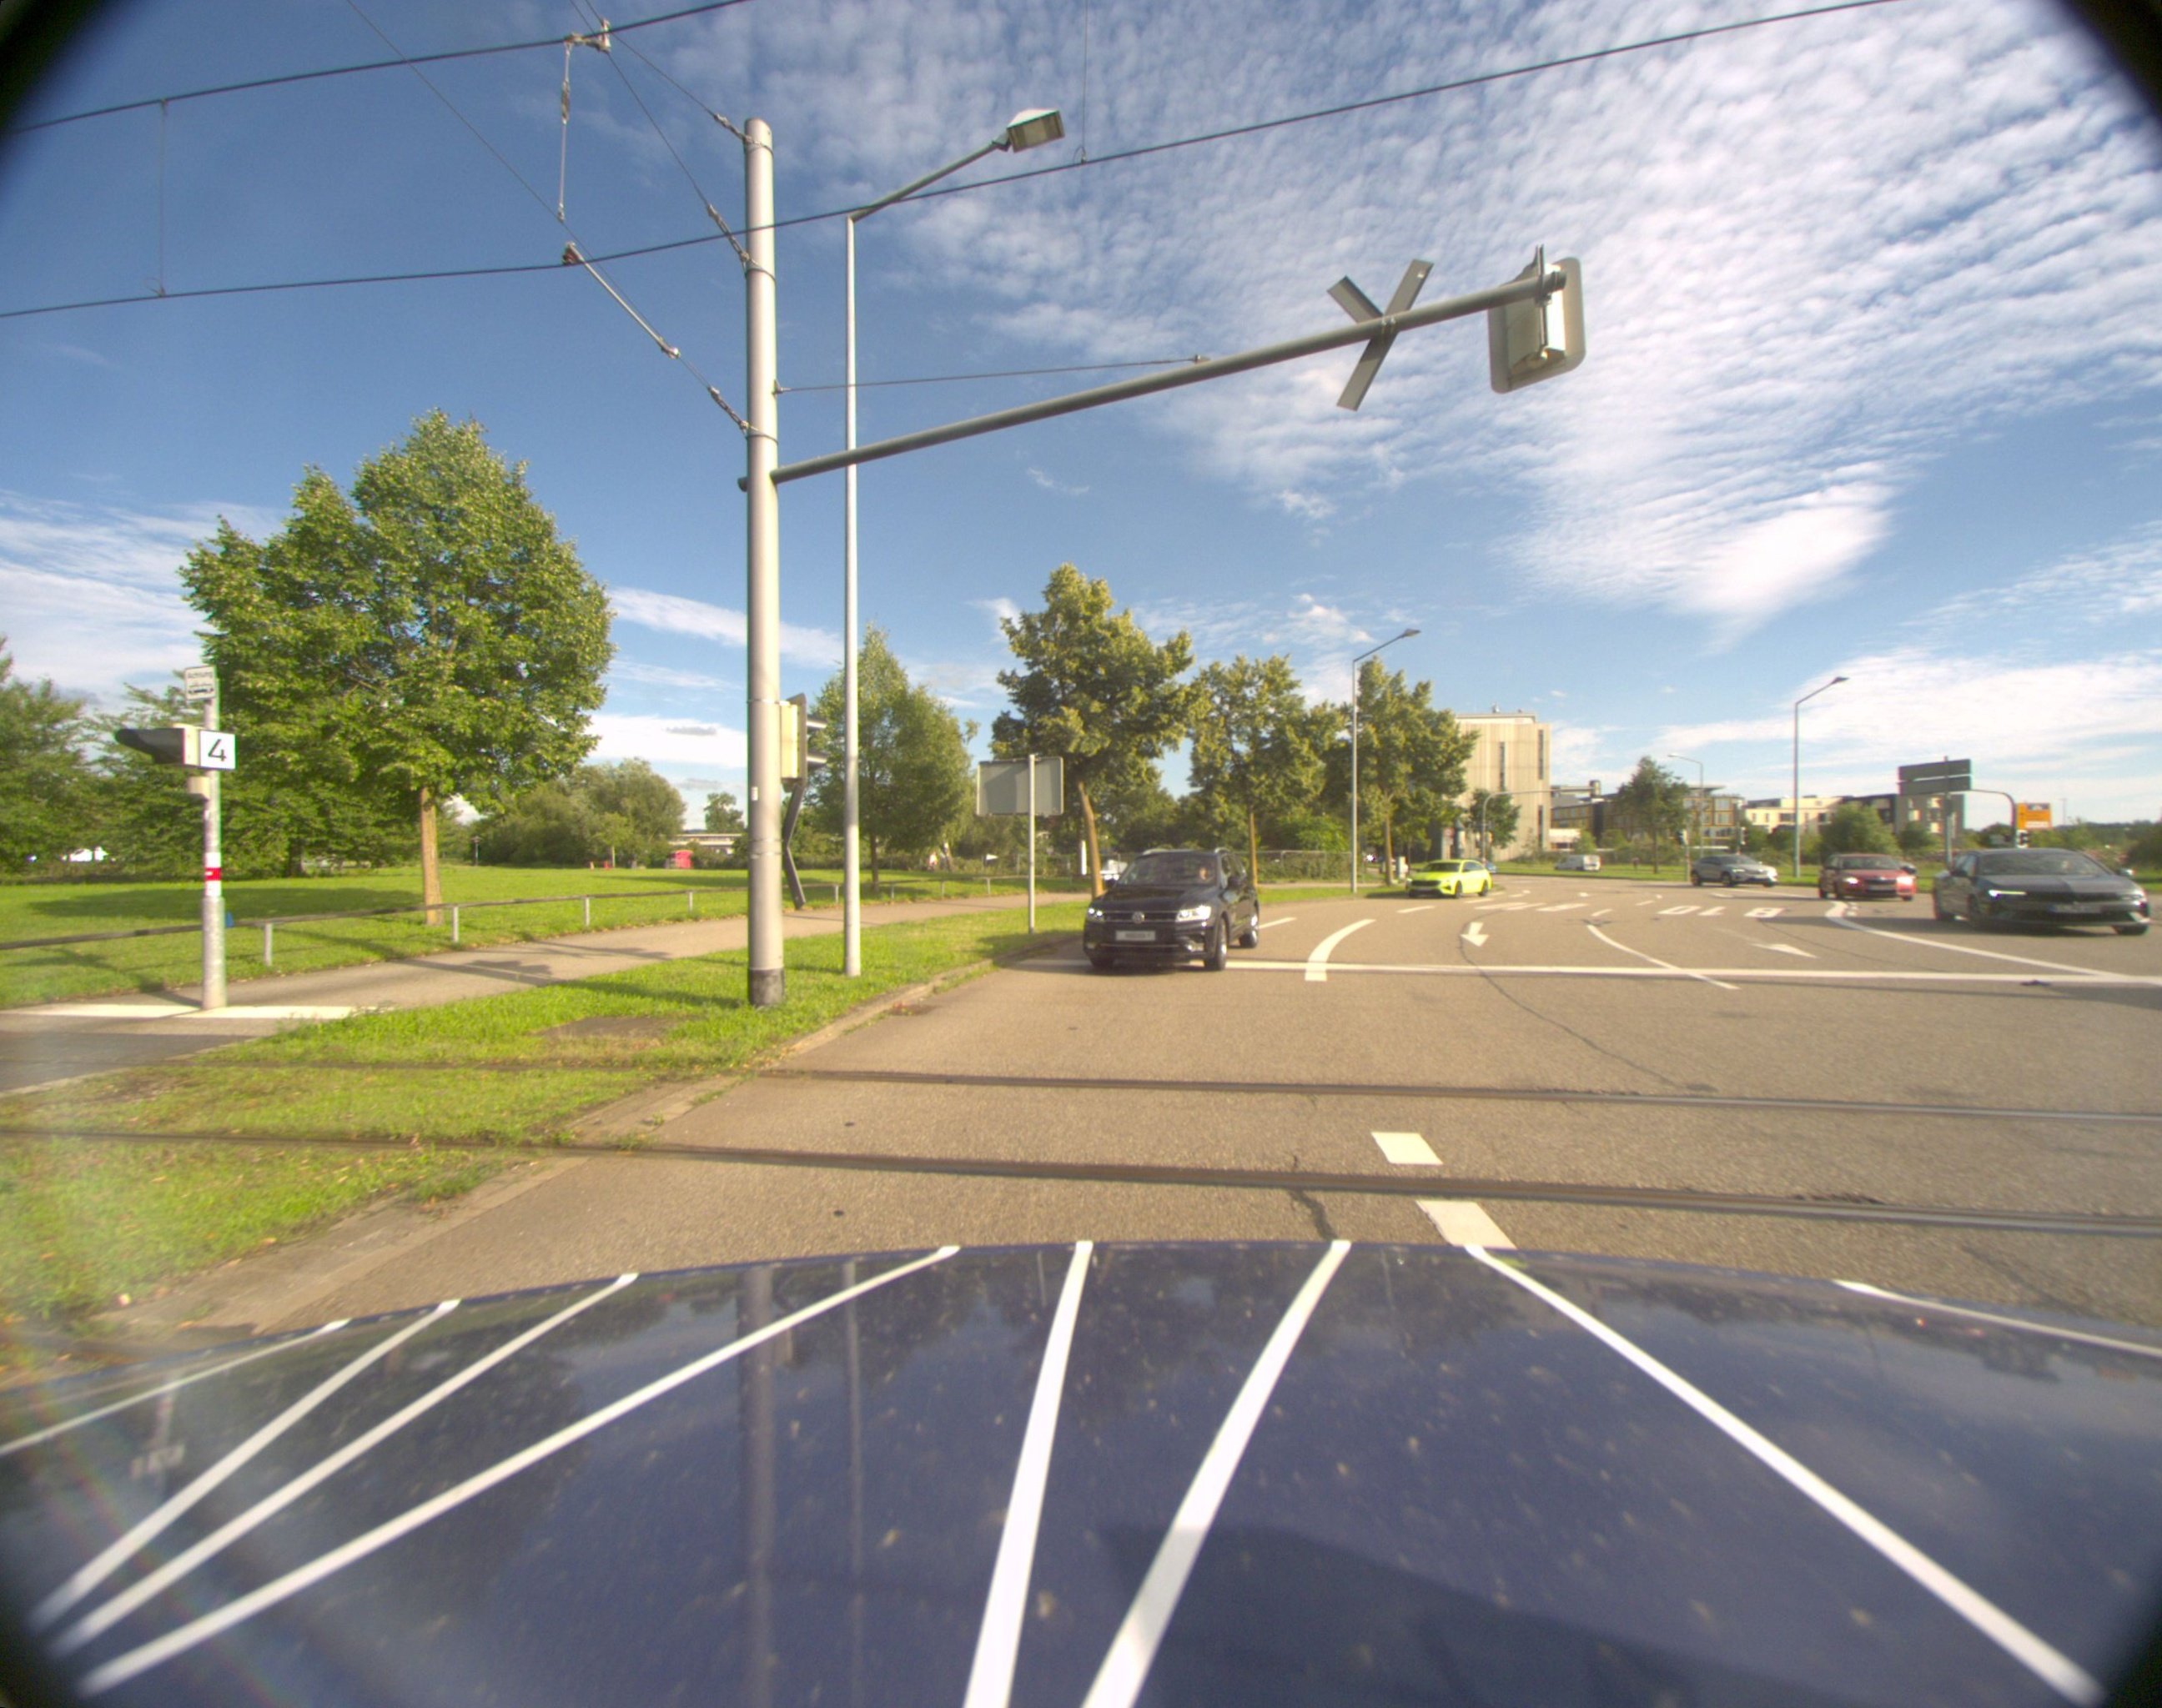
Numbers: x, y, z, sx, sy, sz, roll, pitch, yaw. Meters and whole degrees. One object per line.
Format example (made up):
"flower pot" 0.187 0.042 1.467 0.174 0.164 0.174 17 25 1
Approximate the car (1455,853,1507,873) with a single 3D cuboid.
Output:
"car" 35.283 0.796 67.110 1.999 1.652 4.802 0 1 -1

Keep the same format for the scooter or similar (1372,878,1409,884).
"scooter or similar" 18.180 1.566 44.650 1.555 0.279 1.291 0 0 -23

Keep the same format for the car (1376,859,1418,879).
"car" 29.133 1.352 70.231 1.998 1.652 4.803 0 0 1

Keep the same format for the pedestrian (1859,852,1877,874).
"pedestrian" 57.396 0.660 55.403 0.628 1.620 0.658 -1 0 4

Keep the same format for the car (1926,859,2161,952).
"car" 17.240 0.807 13.834 1.819 1.412 4.457 0 -1 39

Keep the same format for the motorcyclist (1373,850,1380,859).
"motorcyclist" 44.507 0.081 114.513 0.784 1.358 0.943 0 0 2

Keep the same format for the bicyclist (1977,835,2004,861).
"bicyclist" 52.838 -0.350 44.141 0.697 1.437 0.611 2 2 12

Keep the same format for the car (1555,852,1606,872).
"car" 47.742 0.758 72.725 1.685 1.814 4.561 2 0 -1

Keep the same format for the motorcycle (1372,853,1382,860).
"motorcycle" 44.576 0.407 114.375 0.784 0.981 2.024 0 0 2

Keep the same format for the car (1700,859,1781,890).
"car" 32.335 0.992 37.395 1.691 1.466 4.234 -1 -1 21

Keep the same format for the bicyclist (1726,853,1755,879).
"bicyclist" 39.222 0.690 45.182 0.865 1.547 0.998 0 1 6

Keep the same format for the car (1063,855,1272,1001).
"car" 1.609 0.889 11.754 1.868 1.685 5.023 0 1 23

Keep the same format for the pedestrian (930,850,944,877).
"pedestrian" -9.100 0.598 47.873 0.596 1.722 0.668 0 1 20

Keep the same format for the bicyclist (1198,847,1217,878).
"bicyclist" 6.425 0.424 38.632 0.903 1.538 0.804 0 1 8

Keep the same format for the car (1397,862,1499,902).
"car" 14.092 1.033 29.042 4.618 1.412 1.892 1 -1 -42

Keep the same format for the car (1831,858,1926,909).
"car" 25.275 0.873 24.212 1.690 1.466 4.236 -1 0 41

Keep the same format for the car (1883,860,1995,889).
"car" 49.689 1.157 44.122 1.686 1.492 3.990 2 0 -9
